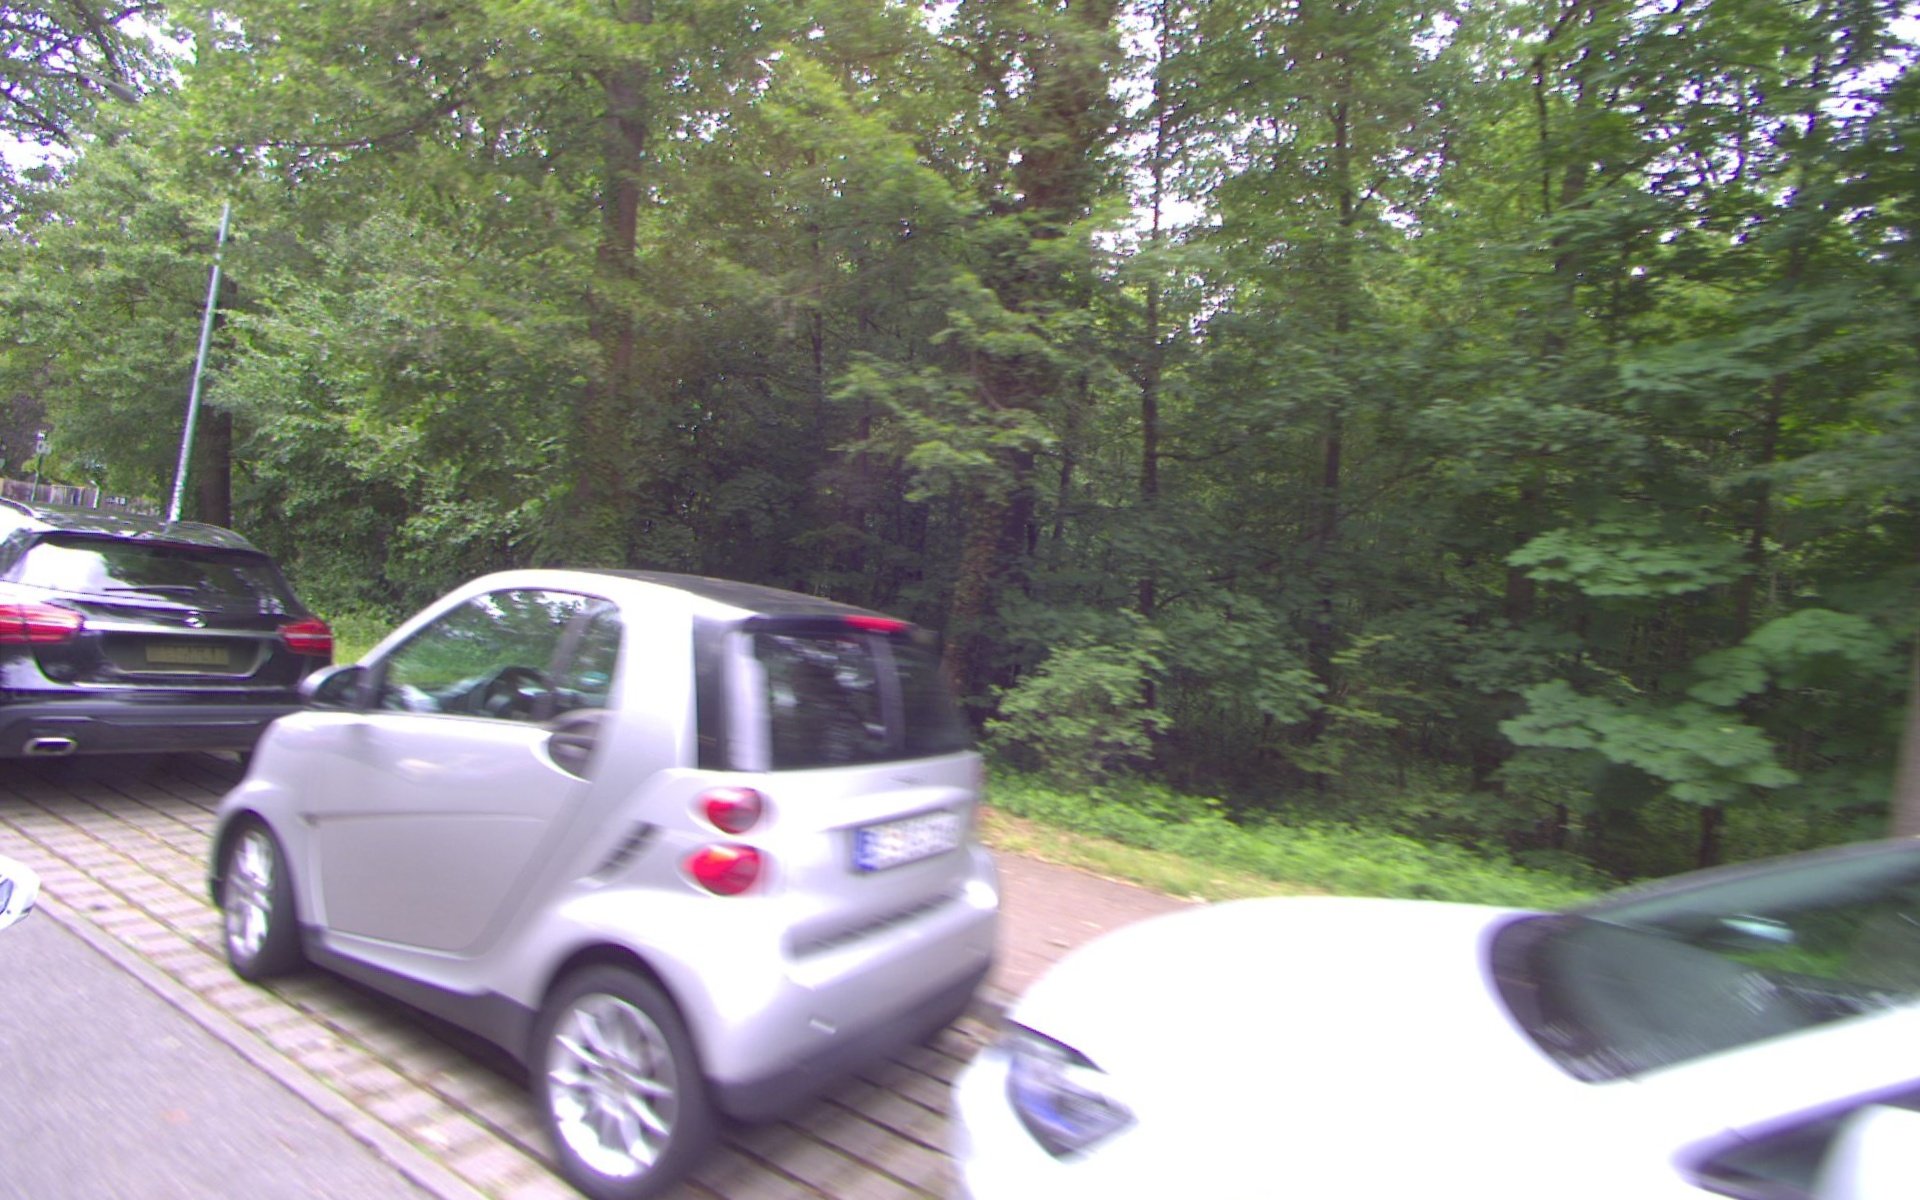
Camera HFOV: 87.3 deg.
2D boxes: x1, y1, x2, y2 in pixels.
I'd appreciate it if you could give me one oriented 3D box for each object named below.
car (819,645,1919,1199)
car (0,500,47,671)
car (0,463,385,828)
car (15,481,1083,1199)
[{"bbox_3d":[1.962,1.104,1.656,4.082,1.441,1.741,7,-2,28],"label":"car"},{"bbox_3d":[-10.400,-0.412,9.236,4.427,1.448,1.740,7,-2,32],"label":"car"},{"bbox_3d":[-5.643,0.080,6.203,4.311,1.607,1.739,7,-2,33],"label":"car"},{"bbox_3d":[-1.754,0.580,4.008,3.940,1.586,1.741,7,-2,30],"label":"car"}]
